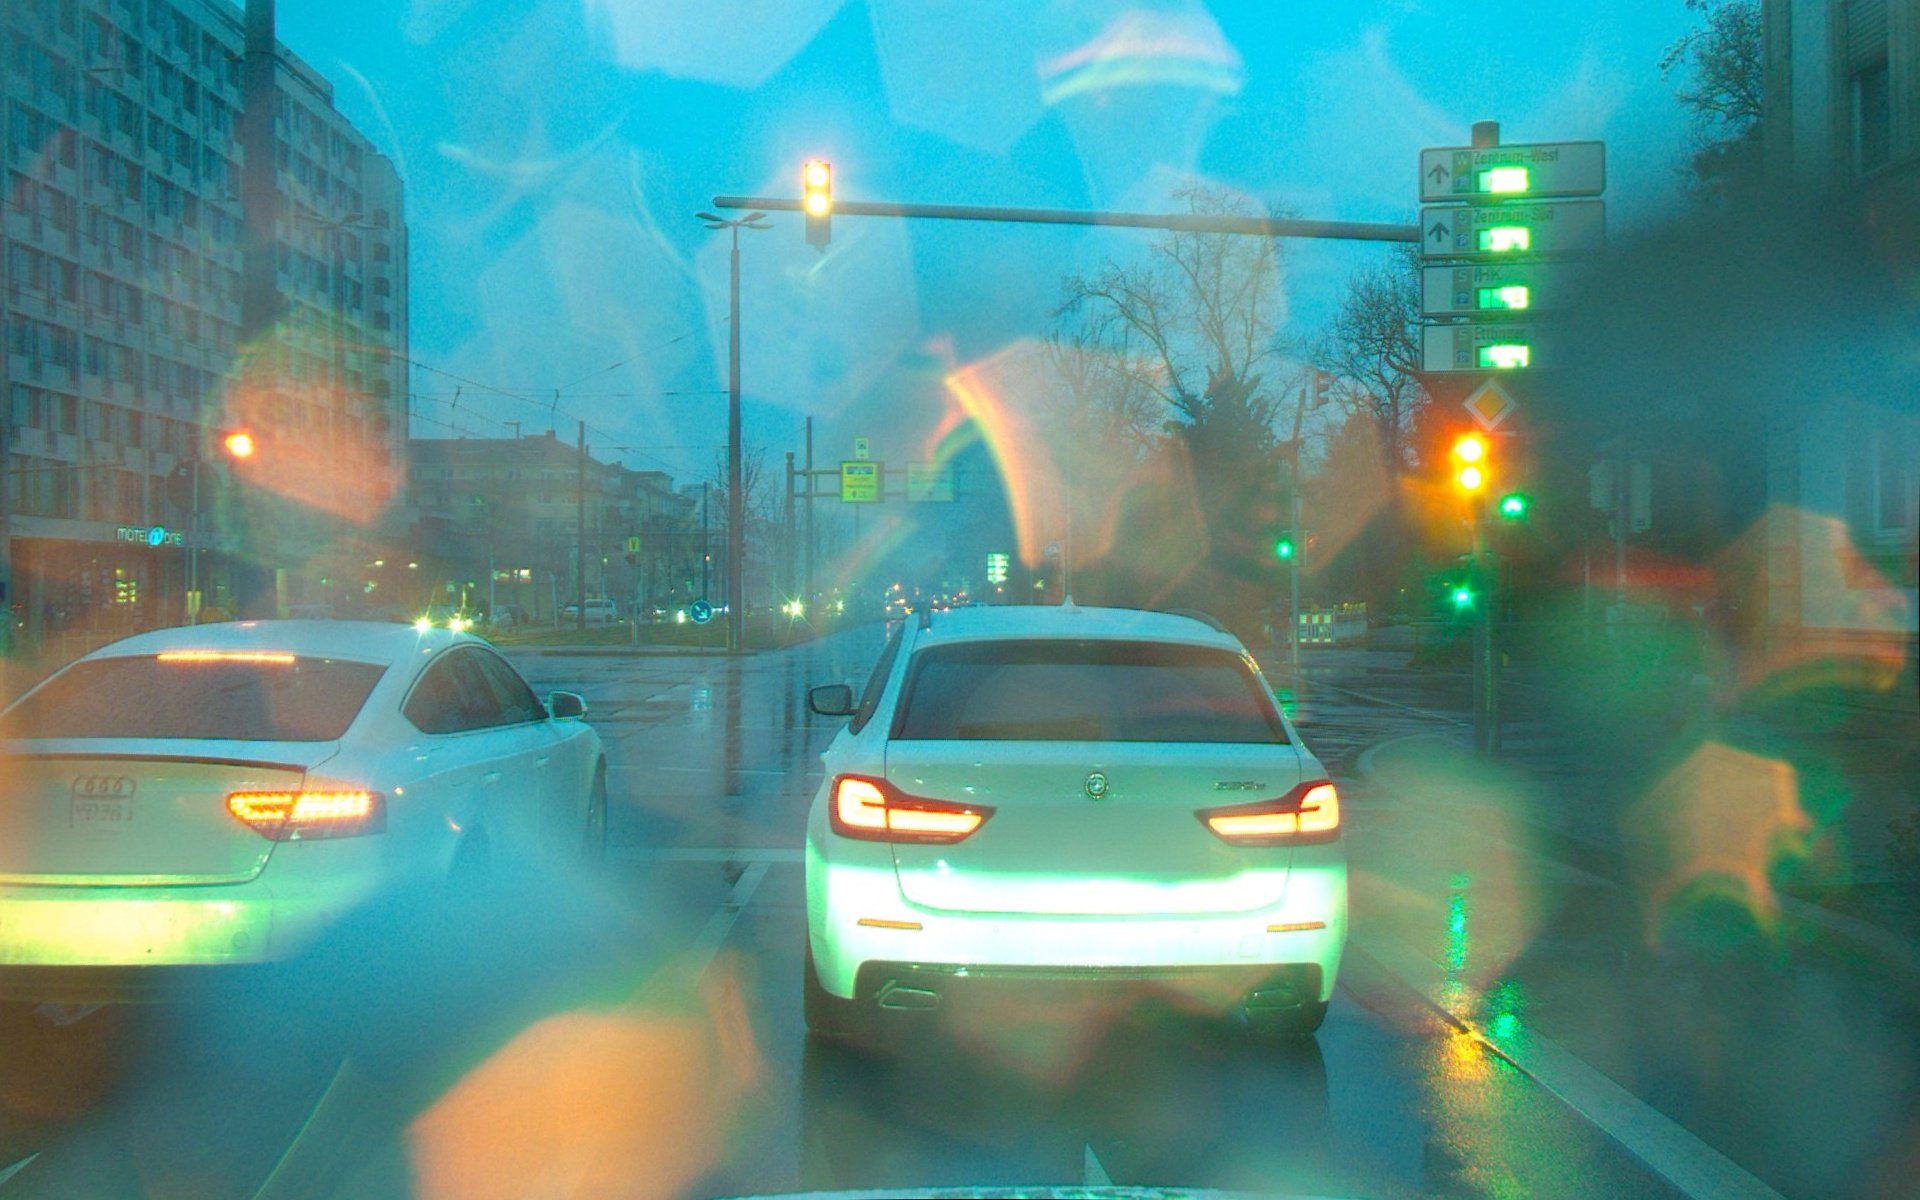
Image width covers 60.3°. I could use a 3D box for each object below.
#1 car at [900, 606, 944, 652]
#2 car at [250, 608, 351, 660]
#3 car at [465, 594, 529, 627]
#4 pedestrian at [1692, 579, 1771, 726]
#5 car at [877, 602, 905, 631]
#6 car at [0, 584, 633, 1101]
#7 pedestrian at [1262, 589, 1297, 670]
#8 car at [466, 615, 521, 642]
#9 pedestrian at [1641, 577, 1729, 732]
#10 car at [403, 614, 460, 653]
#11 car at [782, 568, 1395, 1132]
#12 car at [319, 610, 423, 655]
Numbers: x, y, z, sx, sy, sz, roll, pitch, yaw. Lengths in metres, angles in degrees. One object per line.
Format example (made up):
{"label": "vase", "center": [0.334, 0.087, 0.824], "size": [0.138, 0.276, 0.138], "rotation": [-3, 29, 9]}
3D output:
{"label": "car", "center": [-1.744, 1.312, 77.132], "size": [1.953, 2.049, 3.999], "rotation": [1, 0, -1]}
{"label": "car", "center": [-24.100, 1.212, 60.593], "size": [1.843, 1.821, 4.598], "rotation": [1, 0, 0]}
{"label": "car", "center": [-22.002, 0.507, 78.741], "size": [1.954, 1.487, 5.090], "rotation": [1, 0, -5]}
{"label": "pedestrian", "center": [9.049, 0.598, 19.393], "size": [0.766, 1.661, 1.009], "rotation": [1, -1, 28]}
{"label": "car", "center": [-5.087, 1.215, 122.954], "size": [1.953, 2.049, 3.999], "rotation": [1, 0, -1]}
{"label": "car", "center": [-2.569, 0.715, 6.935], "size": [1.724, 1.495, 4.249], "rotation": [1, 0, -3]}
{"label": "pedestrian", "center": [7.727, 0.705, 39.981], "size": [0.659, 1.912, 0.714], "rotation": [1, -1, -3]}
{"label": "car", "center": [-27.123, 1.625, 96.341], "size": [1.954, 1.487, 5.092], "rotation": [1, 0, -3]}
{"label": "pedestrian", "center": [7.800, 0.570, 17.838], "size": [0.765, 1.607, 1.011], "rotation": [1, -1, 19]}
{"label": "car", "center": [-21.778, 1.337, 68.249], "size": [1.960, 1.487, 5.074], "rotation": [1, 0, -15]}
{"label": "car", "center": [0.269, 0.721, 6.807], "size": [1.724, 1.580, 4.249], "rotation": [1, 0, -3]}
{"label": "car", "center": [-20.943, 1.137, 59.042], "size": [1.953, 1.487, 5.094], "rotation": [1, 0, -1]}
